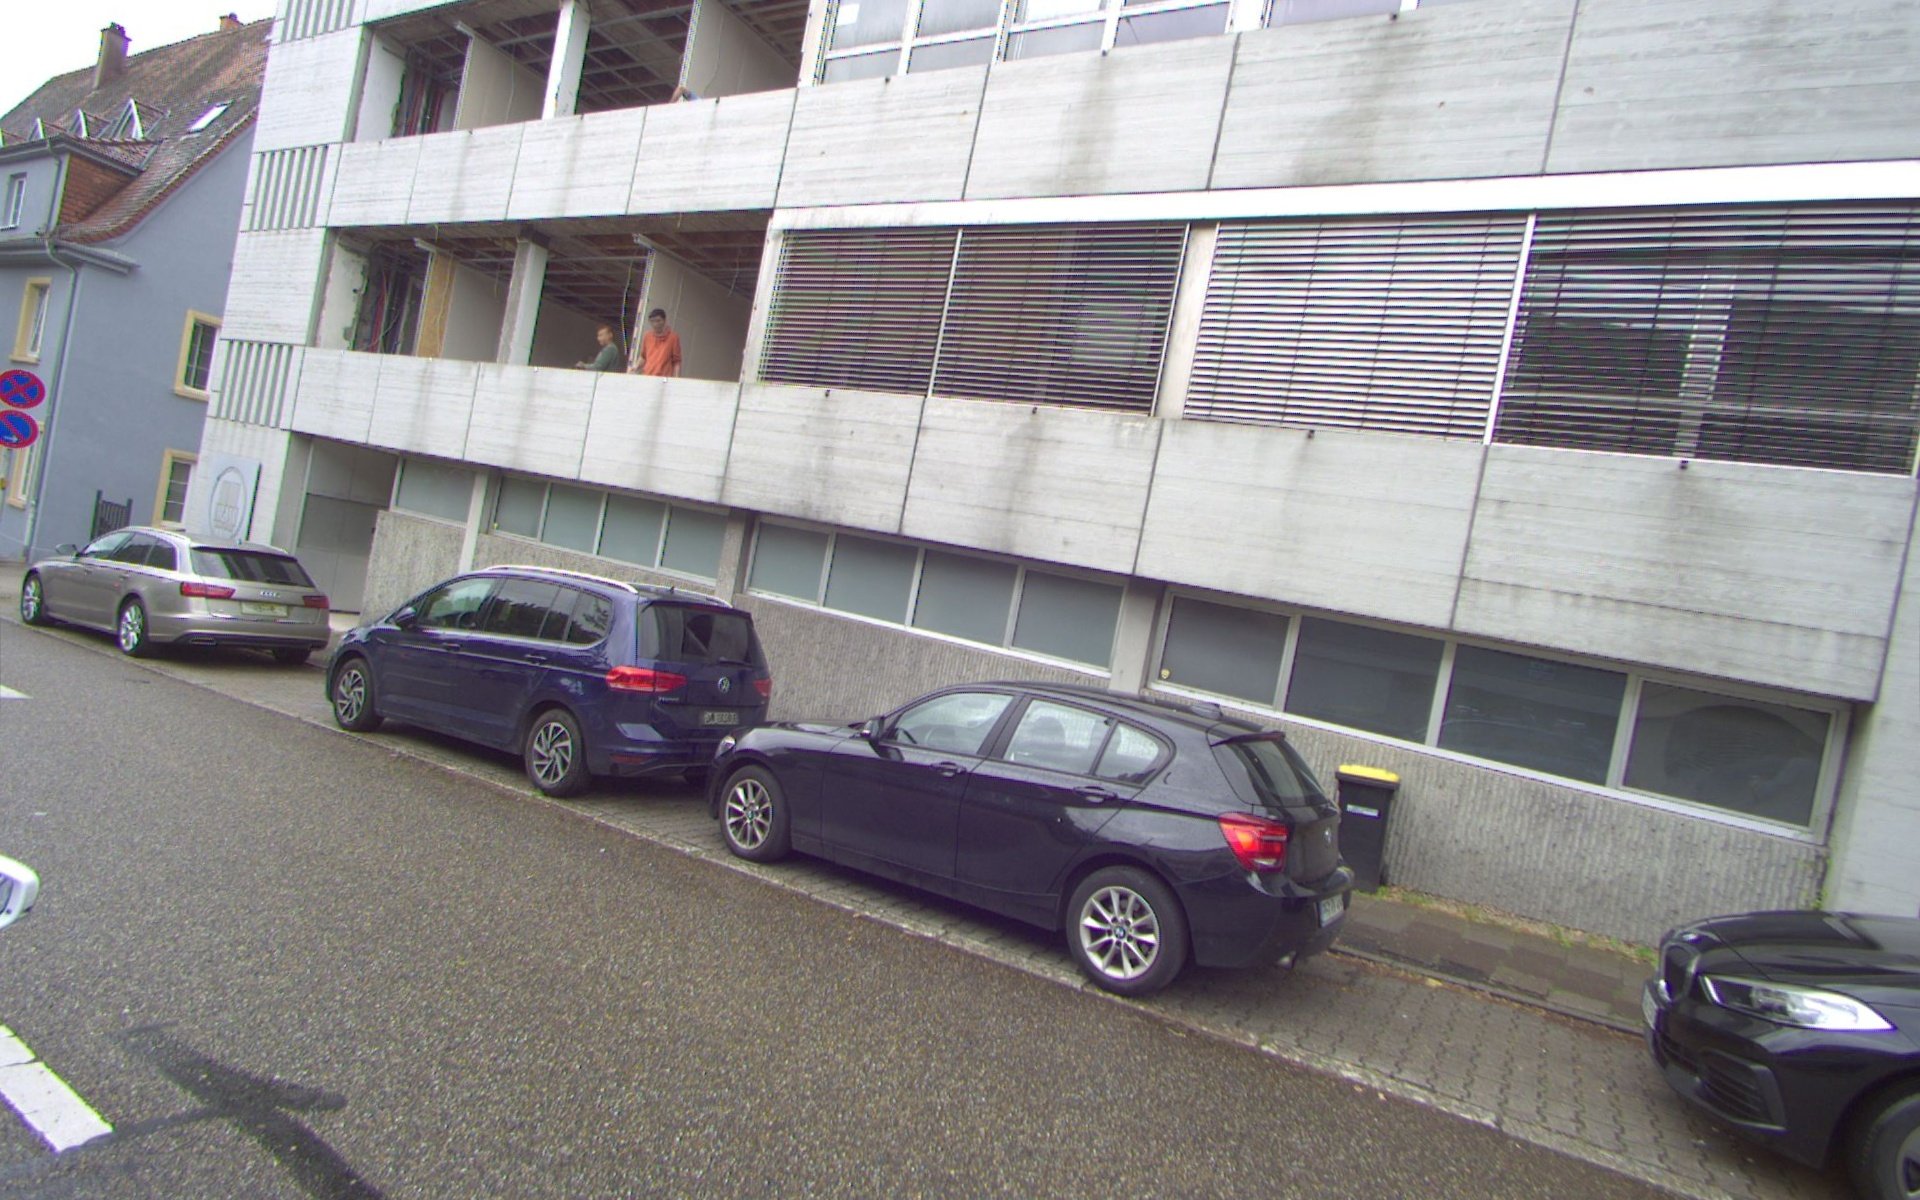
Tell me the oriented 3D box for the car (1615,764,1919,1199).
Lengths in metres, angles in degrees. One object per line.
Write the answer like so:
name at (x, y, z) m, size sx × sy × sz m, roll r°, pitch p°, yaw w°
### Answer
car at (5.078, 1.775, 3.547) m, size 4.367 × 1.452 × 1.997 m, roll 7°, pitch -1°, yaw 30°

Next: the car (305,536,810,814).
car at (-3.536, 0.529, 8.665) m, size 4.090 × 1.618 × 1.732 m, roll 7°, pitch -1°, yaw 30°

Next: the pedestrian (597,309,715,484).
pedestrian at (-3.993, -2.640, 13.244) m, size 0.847 × 2.036 × 0.909 m, roll 6°, pitch -2°, yaw 31°

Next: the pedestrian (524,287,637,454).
pedestrian at (-5.262, -3.151, 13.987) m, size 0.847 × 2.036 × 0.909 m, roll 6°, pitch -2°, yaw 31°

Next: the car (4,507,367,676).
car at (-9.813, -0.130, 12.689) m, size 4.449 × 1.465 × 1.966 m, roll 7°, pitch -1°, yaw 30°

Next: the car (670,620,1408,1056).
car at (0.328, 1.153, 6.324) m, size 4.183 × 1.465 × 1.750 m, roll 7°, pitch -1°, yaw 34°
